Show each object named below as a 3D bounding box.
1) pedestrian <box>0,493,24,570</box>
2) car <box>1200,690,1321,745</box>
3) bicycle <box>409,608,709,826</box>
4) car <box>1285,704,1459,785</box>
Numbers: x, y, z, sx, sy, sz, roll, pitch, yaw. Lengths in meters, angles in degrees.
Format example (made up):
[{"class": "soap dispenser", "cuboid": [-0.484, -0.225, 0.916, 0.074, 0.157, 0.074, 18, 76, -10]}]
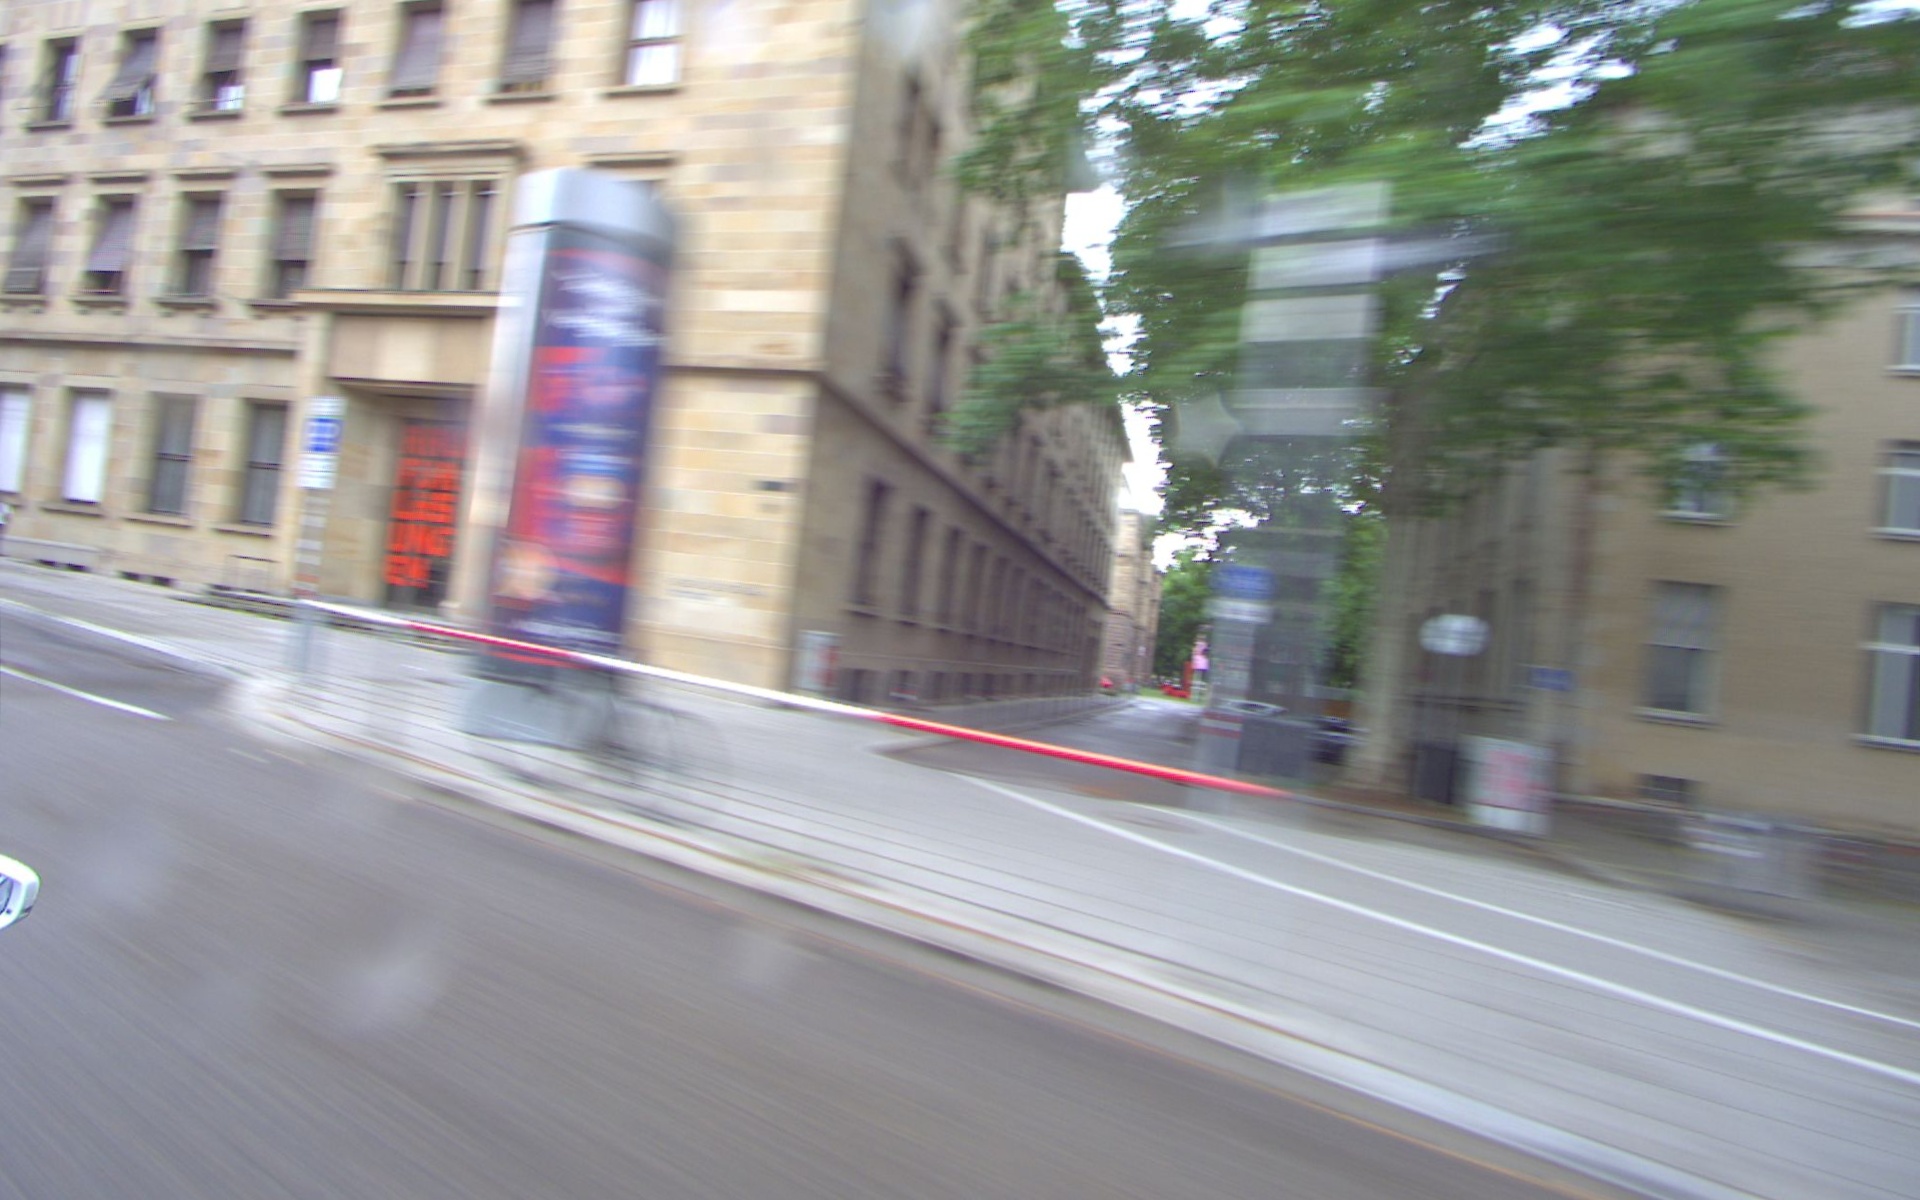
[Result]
[{"class": "pedestrian", "cuboid": [-20.939, -1.511, 21.843, 0.662, 1.620, 0.526, 7, -2, 28]}, {"class": "car", "cuboid": [12.736, 4.965, 42.896, 4.590, 1.481, 1.890, 8, 0, 10]}, {"class": "bicycle", "cuboid": [-2.543, 0.689, 6.307, 1.894, 1.023, 0.491, 7, -2, 26]}, {"class": "car", "cuboid": [12.348, 4.315, 30.448, 4.456, 1.481, 1.890, 8, 0, 13]}]
